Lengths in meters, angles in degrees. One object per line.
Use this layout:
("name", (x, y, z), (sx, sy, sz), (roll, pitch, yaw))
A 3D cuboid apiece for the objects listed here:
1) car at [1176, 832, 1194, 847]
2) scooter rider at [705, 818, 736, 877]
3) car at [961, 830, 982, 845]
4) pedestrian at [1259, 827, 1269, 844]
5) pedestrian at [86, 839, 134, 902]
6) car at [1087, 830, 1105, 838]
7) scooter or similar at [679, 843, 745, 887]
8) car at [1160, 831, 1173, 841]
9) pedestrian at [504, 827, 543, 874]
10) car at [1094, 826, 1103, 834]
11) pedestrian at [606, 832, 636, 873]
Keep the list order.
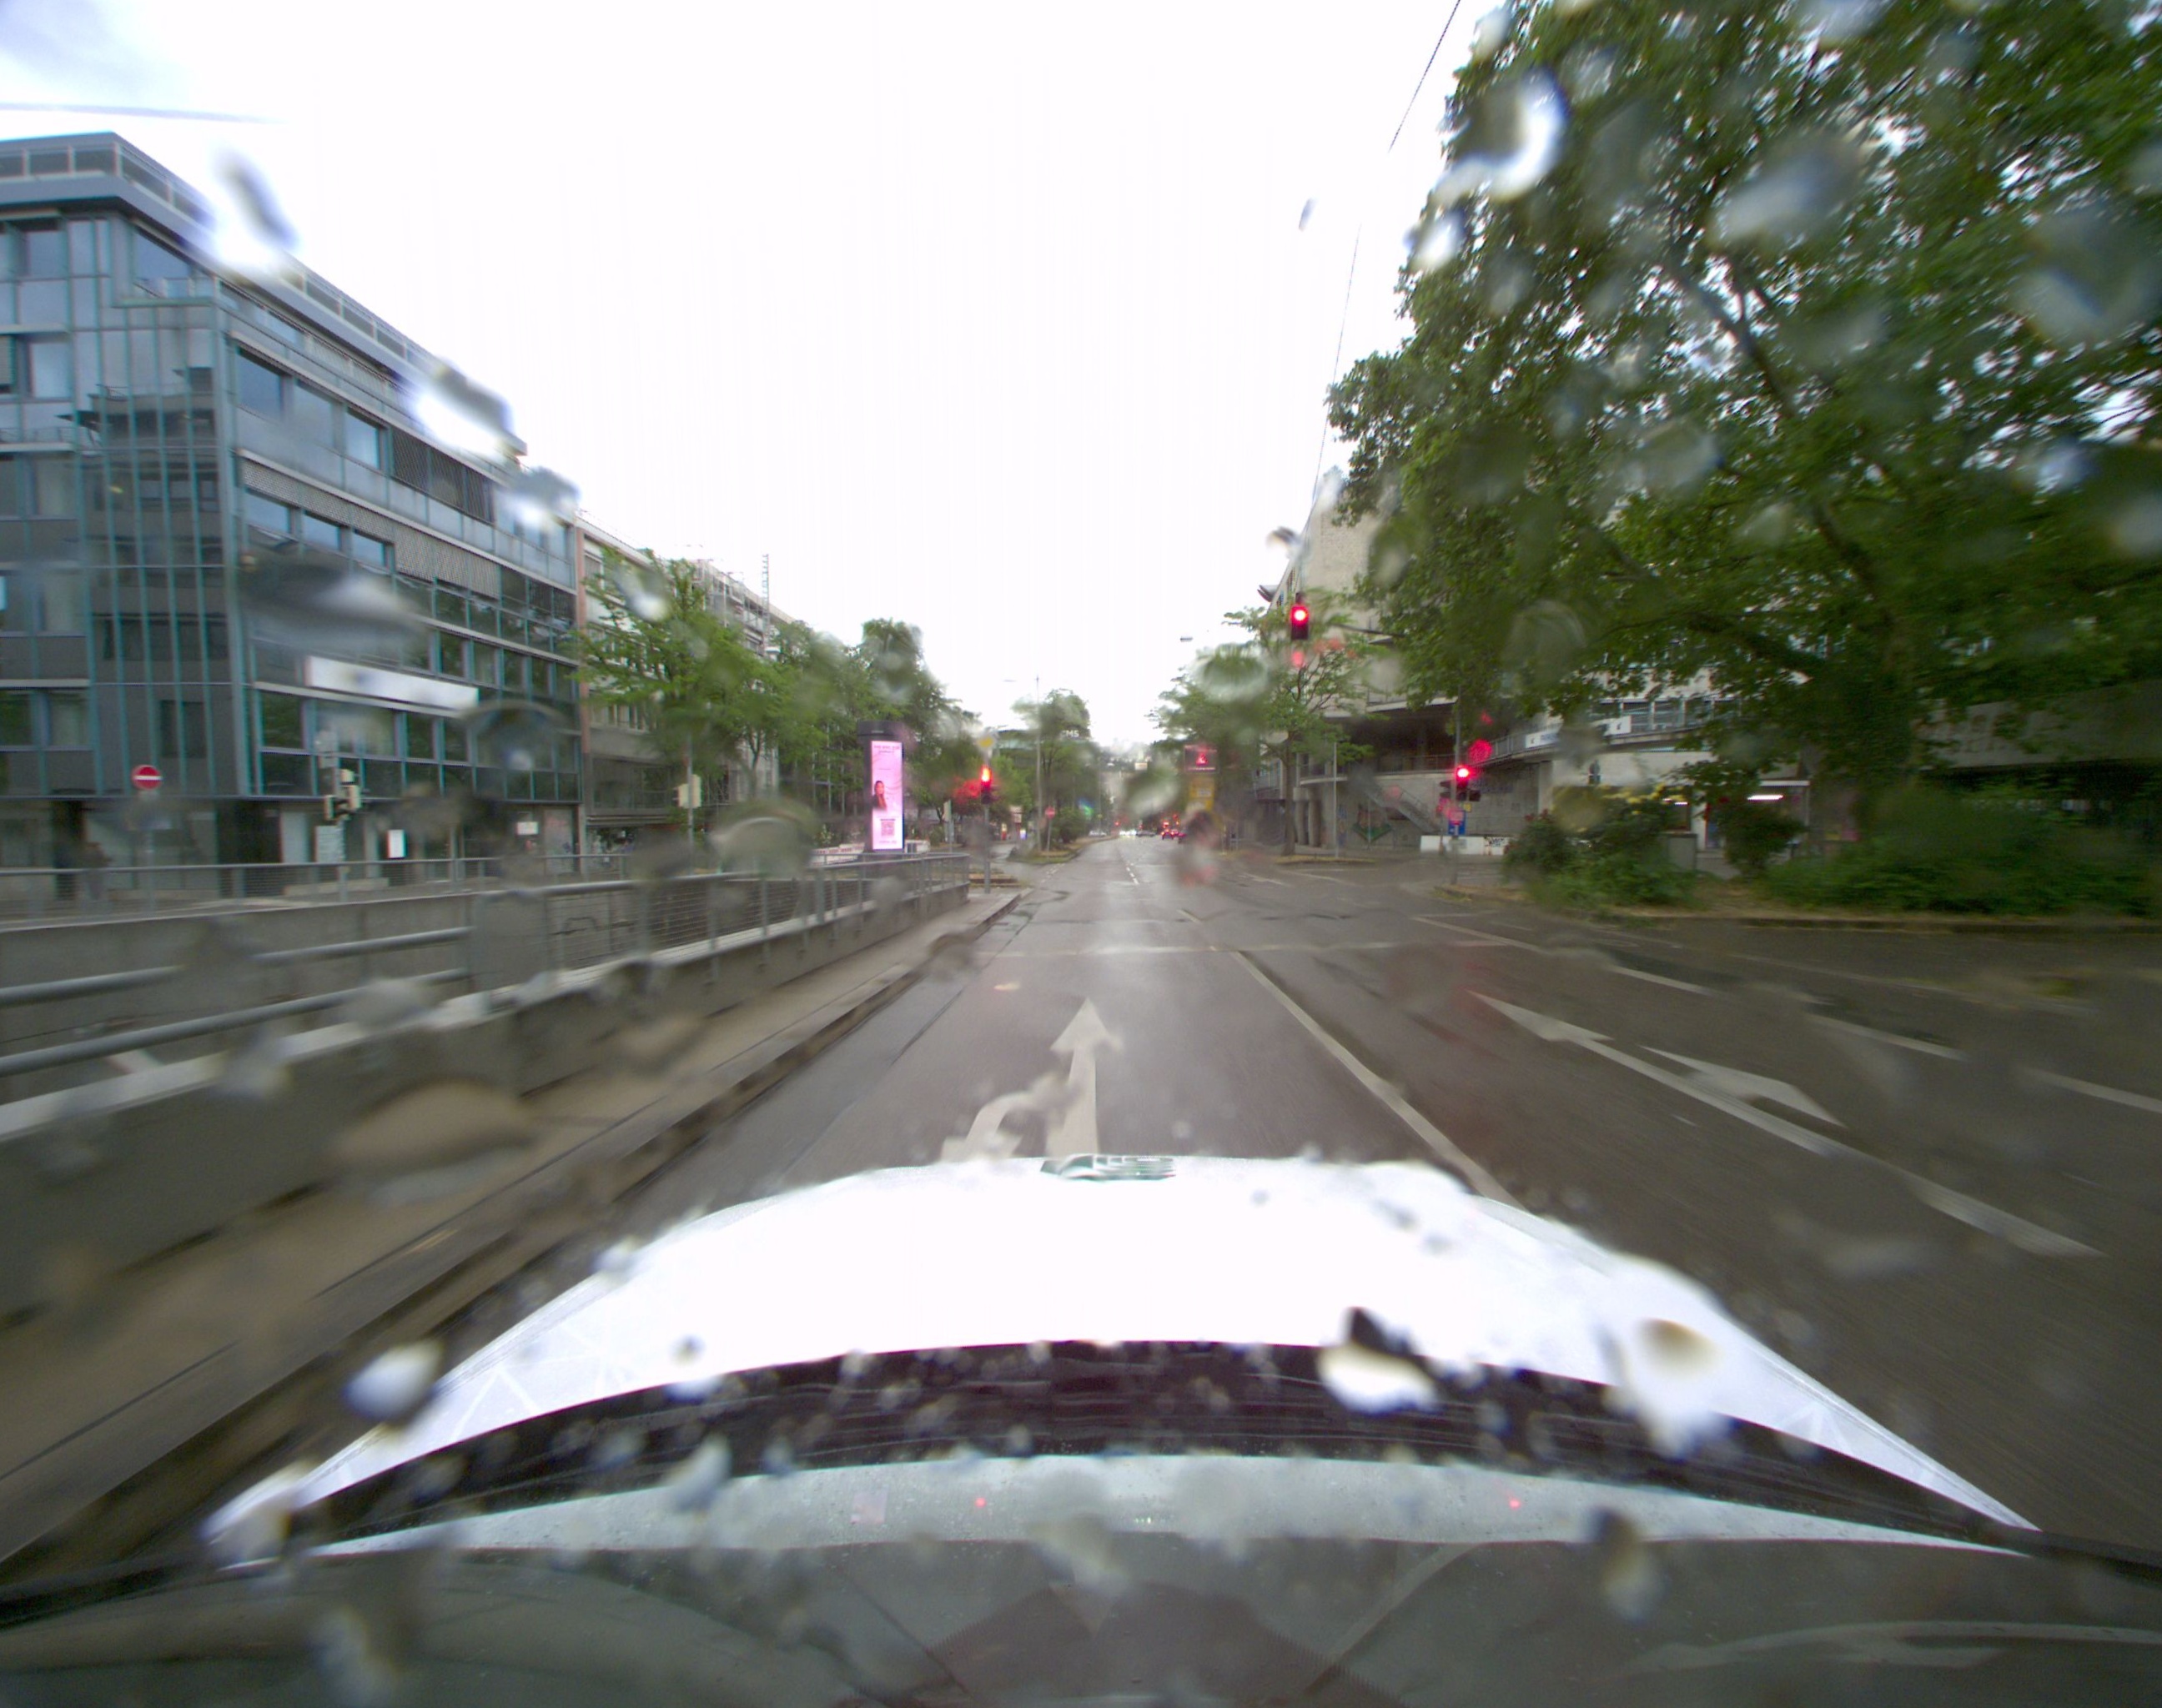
("car", (11.640, -1.608, 91.270), (1.892, 1.683, 3.918), (0, 1, 6))
("scooter rider", (-12.169, -0.236, 27.486), (0.825, 1.948, 0.803), (0, 1, -34))
("car", (-12.331, -1.908, 91.815), (1.774, 1.555, 3.895), (0, 3, 1))
("pedestrian", (16.861, -1.739, 75.087), (0.782, 1.557, 0.533), (1, 1, 5))
("pedestrian", (-25.987, 0.433, 21.791), (0.662, 1.671, 0.488), (-1, 1, 1))
("car", (3.507, -4.617, 187.554), (4.048, 1.904, 1.951), (0, 1, -5))
("scooter or similar", (-12.371, 0.351, 27.345), (1.963, 1.418, 0.542), (0, 1, -34))
("car", (13.451, -2.807, 128.385), (1.739, 1.519, 4.109), (0, 1, 2))
("pedestrian", (-22.687, -0.167, 33.144), (0.857, 1.868, 0.965), (1, 1, 20))
("car", (5.010, -6.953, 233.255), (2.118, 2.164, 5.204), (0, 1, 5))
("pedestrian", (-21.140, -0.084, 37.420), (0.873, 1.868, 0.867), (1, 1, 2))
